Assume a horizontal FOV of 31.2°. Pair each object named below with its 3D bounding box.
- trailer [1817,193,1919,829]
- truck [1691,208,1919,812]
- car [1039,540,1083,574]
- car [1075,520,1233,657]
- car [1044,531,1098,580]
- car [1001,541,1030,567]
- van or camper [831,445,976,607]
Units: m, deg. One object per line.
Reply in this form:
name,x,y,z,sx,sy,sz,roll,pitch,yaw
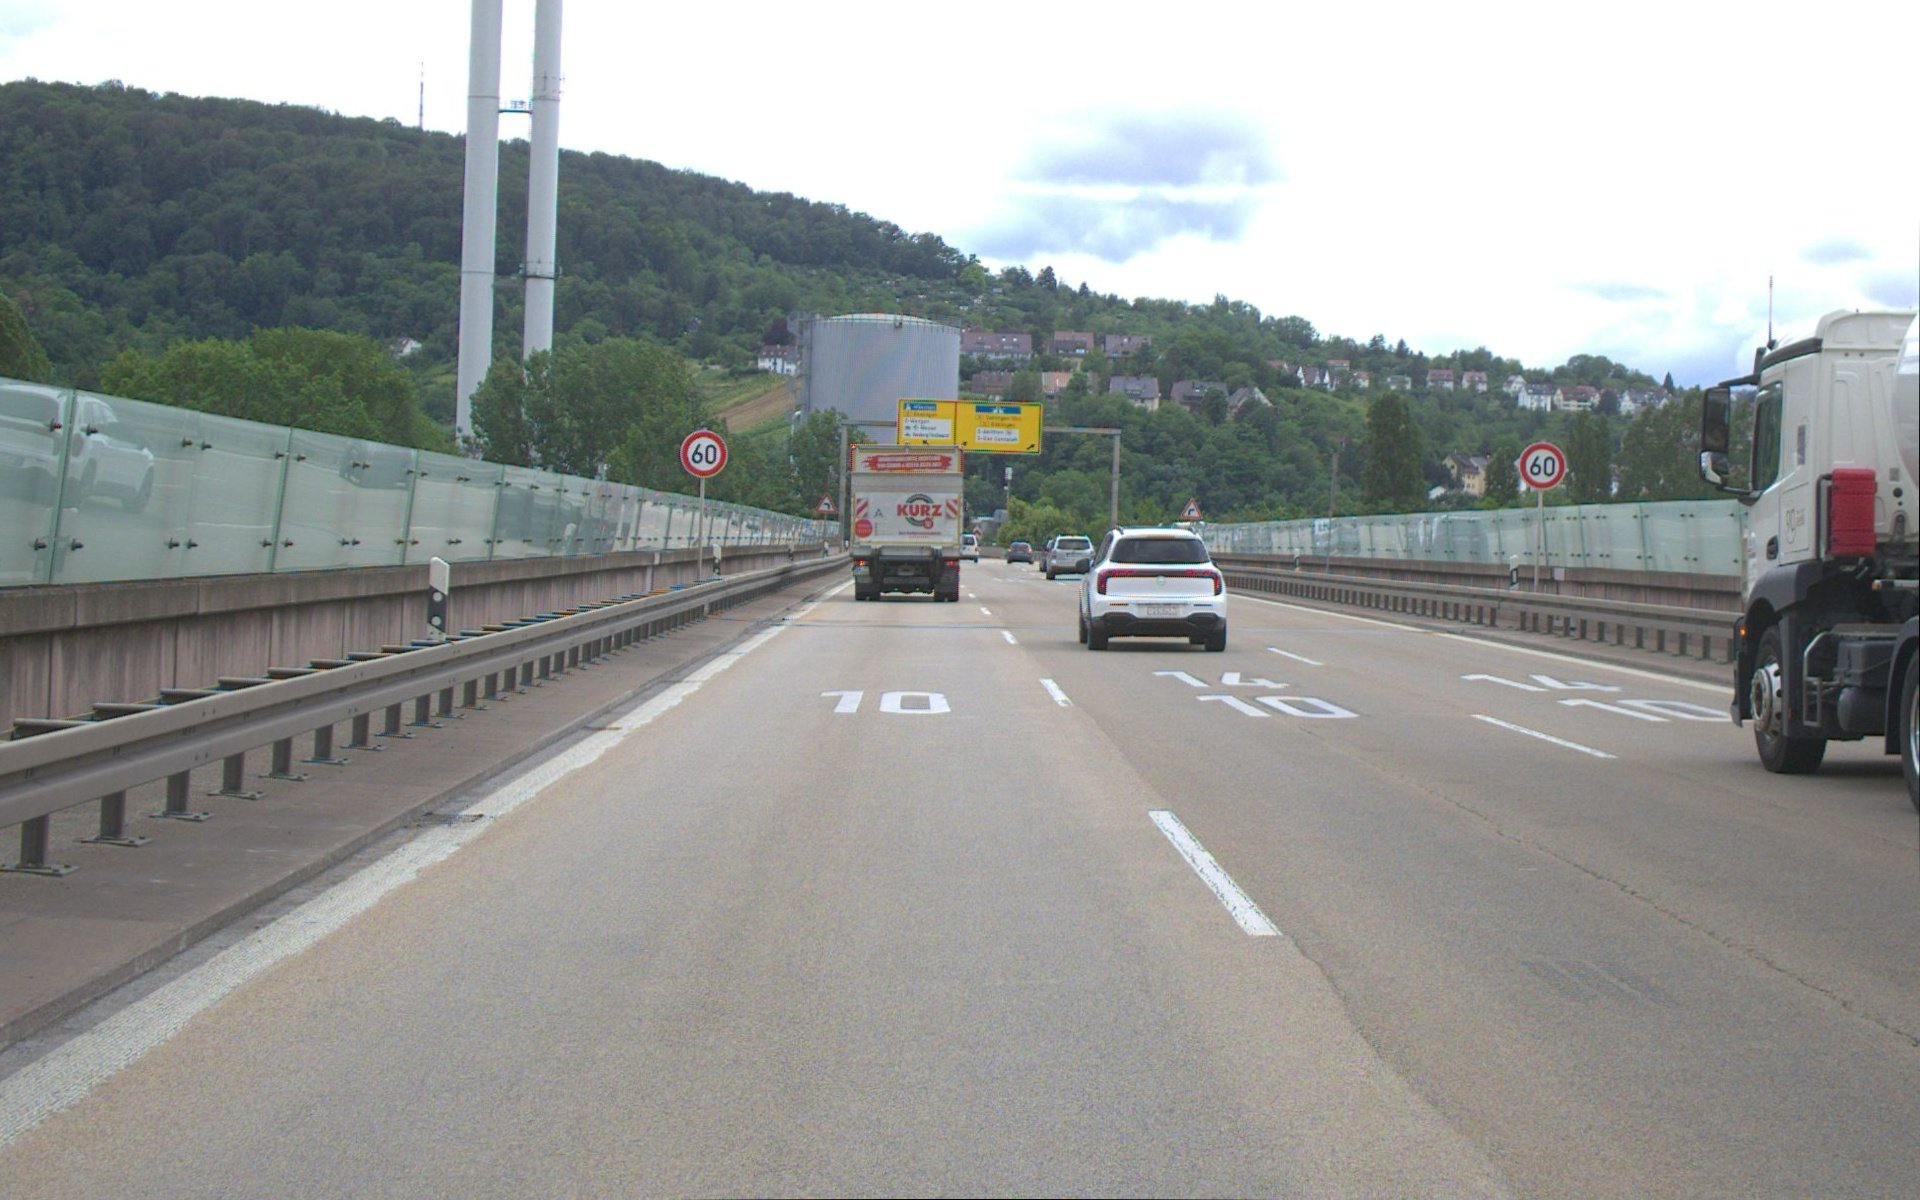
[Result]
trailer,6.659,-0.434,15.566,2.650,3.531,11.220,1,1,0
truck,6.636,-0.541,22.385,2.631,3.502,4.904,1,1,0
car,4.603,-1.963,156.239,1.924,1.429,4.113,1,1,3
car,2.646,-0.199,47.701,1.924,1.779,4.113,1,1,0
car,4.217,-1.701,130.768,1.924,1.779,4.113,1,1,0
car,3.880,-3.209,240.026,1.924,1.779,4.113,1,1,0
van or camper,-1.231,-1.705,81.034,3.122,3.567,8.550,1,1,1
